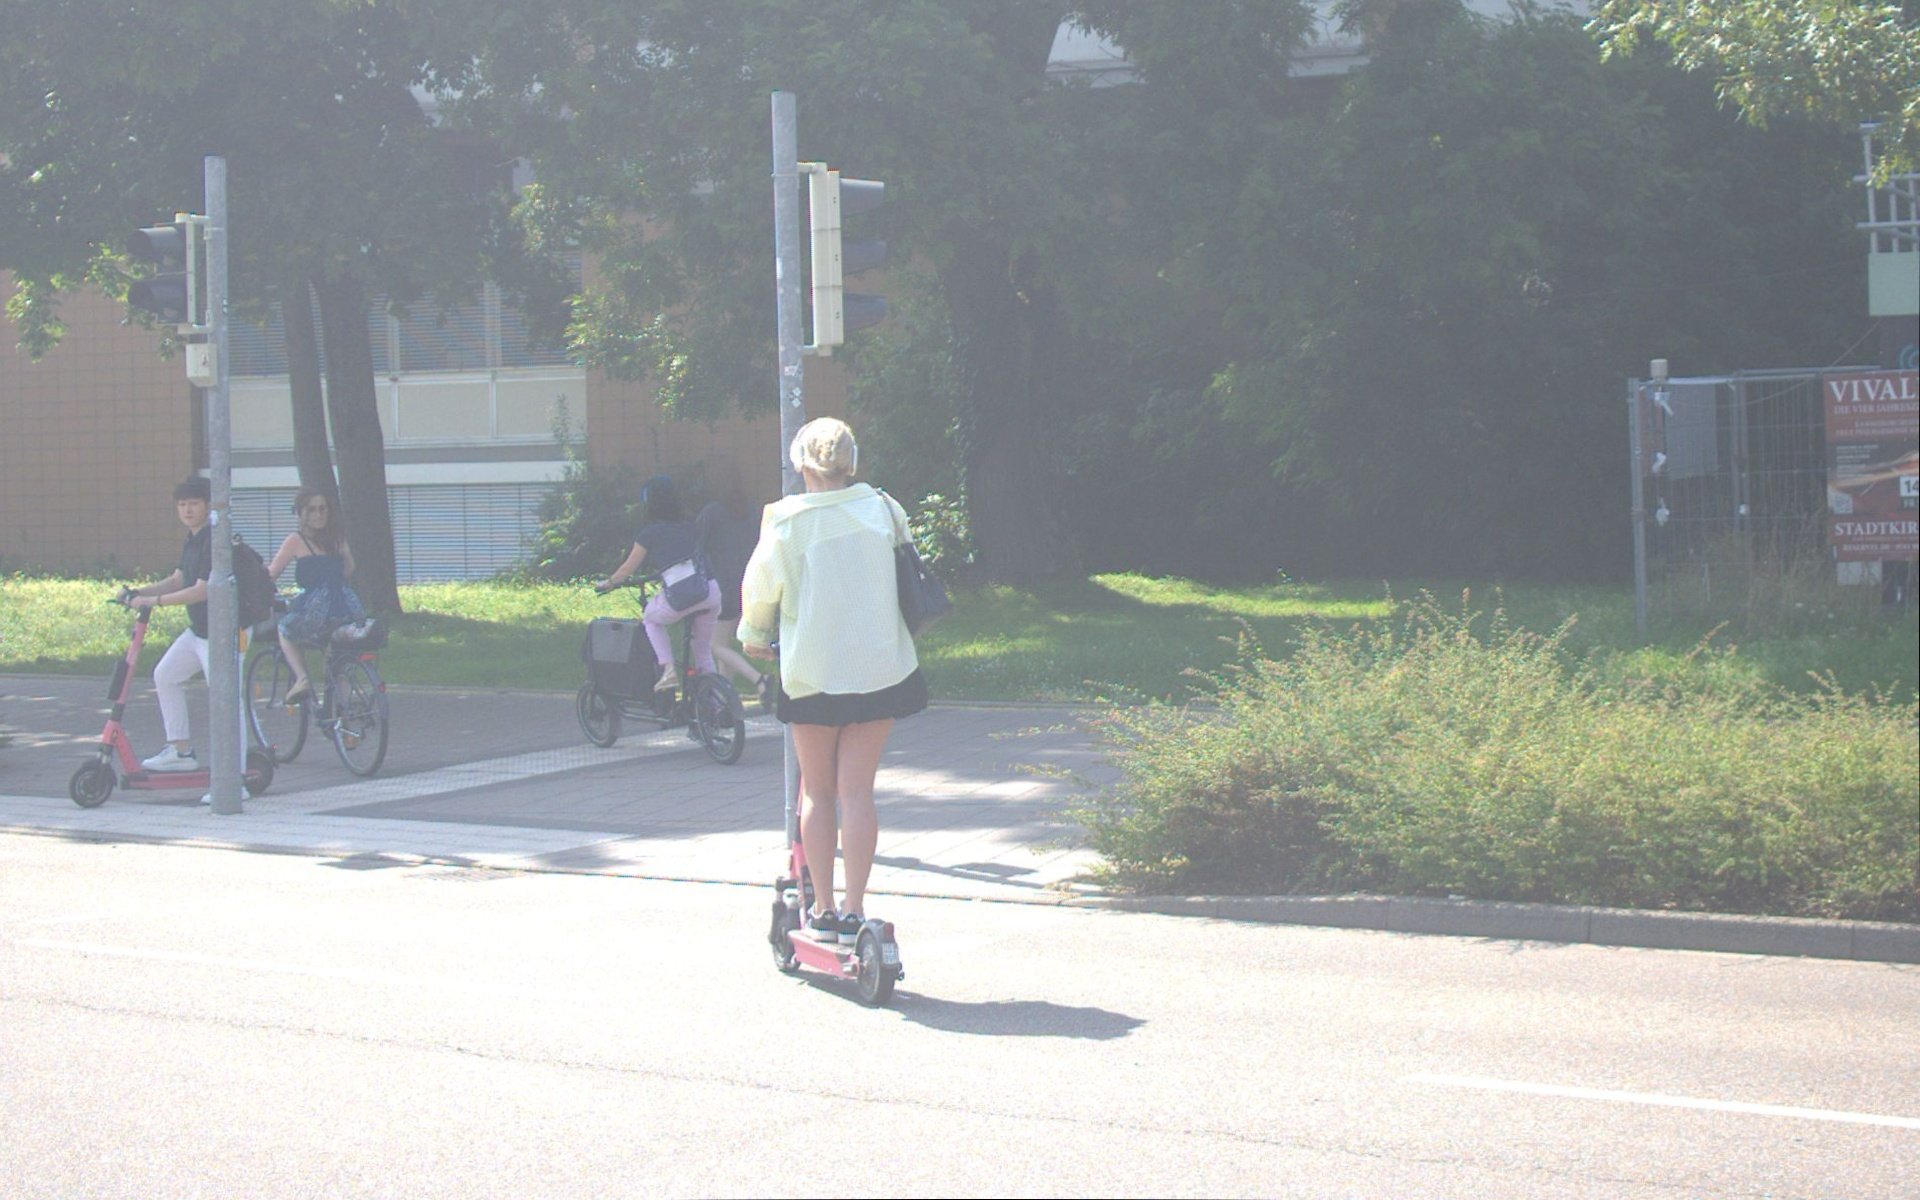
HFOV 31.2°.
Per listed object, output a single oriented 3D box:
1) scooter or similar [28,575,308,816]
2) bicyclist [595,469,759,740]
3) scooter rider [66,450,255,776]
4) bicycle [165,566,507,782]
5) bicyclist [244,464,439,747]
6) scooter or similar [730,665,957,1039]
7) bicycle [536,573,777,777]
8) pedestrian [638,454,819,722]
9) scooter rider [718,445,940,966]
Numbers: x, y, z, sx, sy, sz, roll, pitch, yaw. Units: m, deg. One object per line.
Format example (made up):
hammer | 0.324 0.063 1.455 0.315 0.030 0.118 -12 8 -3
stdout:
scooter or similar | -4.394 0.511 19.090 1.363 1.230 0.585 -3 3 -28
bicyclist | -1.636 0.014 19.816 0.549 1.491 0.804 -6 4 -30
scooter rider | -4.423 0.055 19.006 0.802 1.733 0.689 -3 3 -28
bicycle | -3.714 0.404 20.328 2.369 1.151 0.694 1 5 44
bicyclist | -3.635 0.015 20.214 0.843 1.593 0.691 1 5 44
scooter or similar | -0.418 0.780 11.385 0.556 1.056 2.004 -1 1 -7
bicycle | -1.806 0.412 20.178 0.556 1.056 2.004 -5 4 -30
pedestrian | -1.522 -0.092 22.604 0.878 1.698 0.706 0 4 38
scooter rider | -0.447 0.340 11.539 0.670 1.694 0.539 -1 1 -7
